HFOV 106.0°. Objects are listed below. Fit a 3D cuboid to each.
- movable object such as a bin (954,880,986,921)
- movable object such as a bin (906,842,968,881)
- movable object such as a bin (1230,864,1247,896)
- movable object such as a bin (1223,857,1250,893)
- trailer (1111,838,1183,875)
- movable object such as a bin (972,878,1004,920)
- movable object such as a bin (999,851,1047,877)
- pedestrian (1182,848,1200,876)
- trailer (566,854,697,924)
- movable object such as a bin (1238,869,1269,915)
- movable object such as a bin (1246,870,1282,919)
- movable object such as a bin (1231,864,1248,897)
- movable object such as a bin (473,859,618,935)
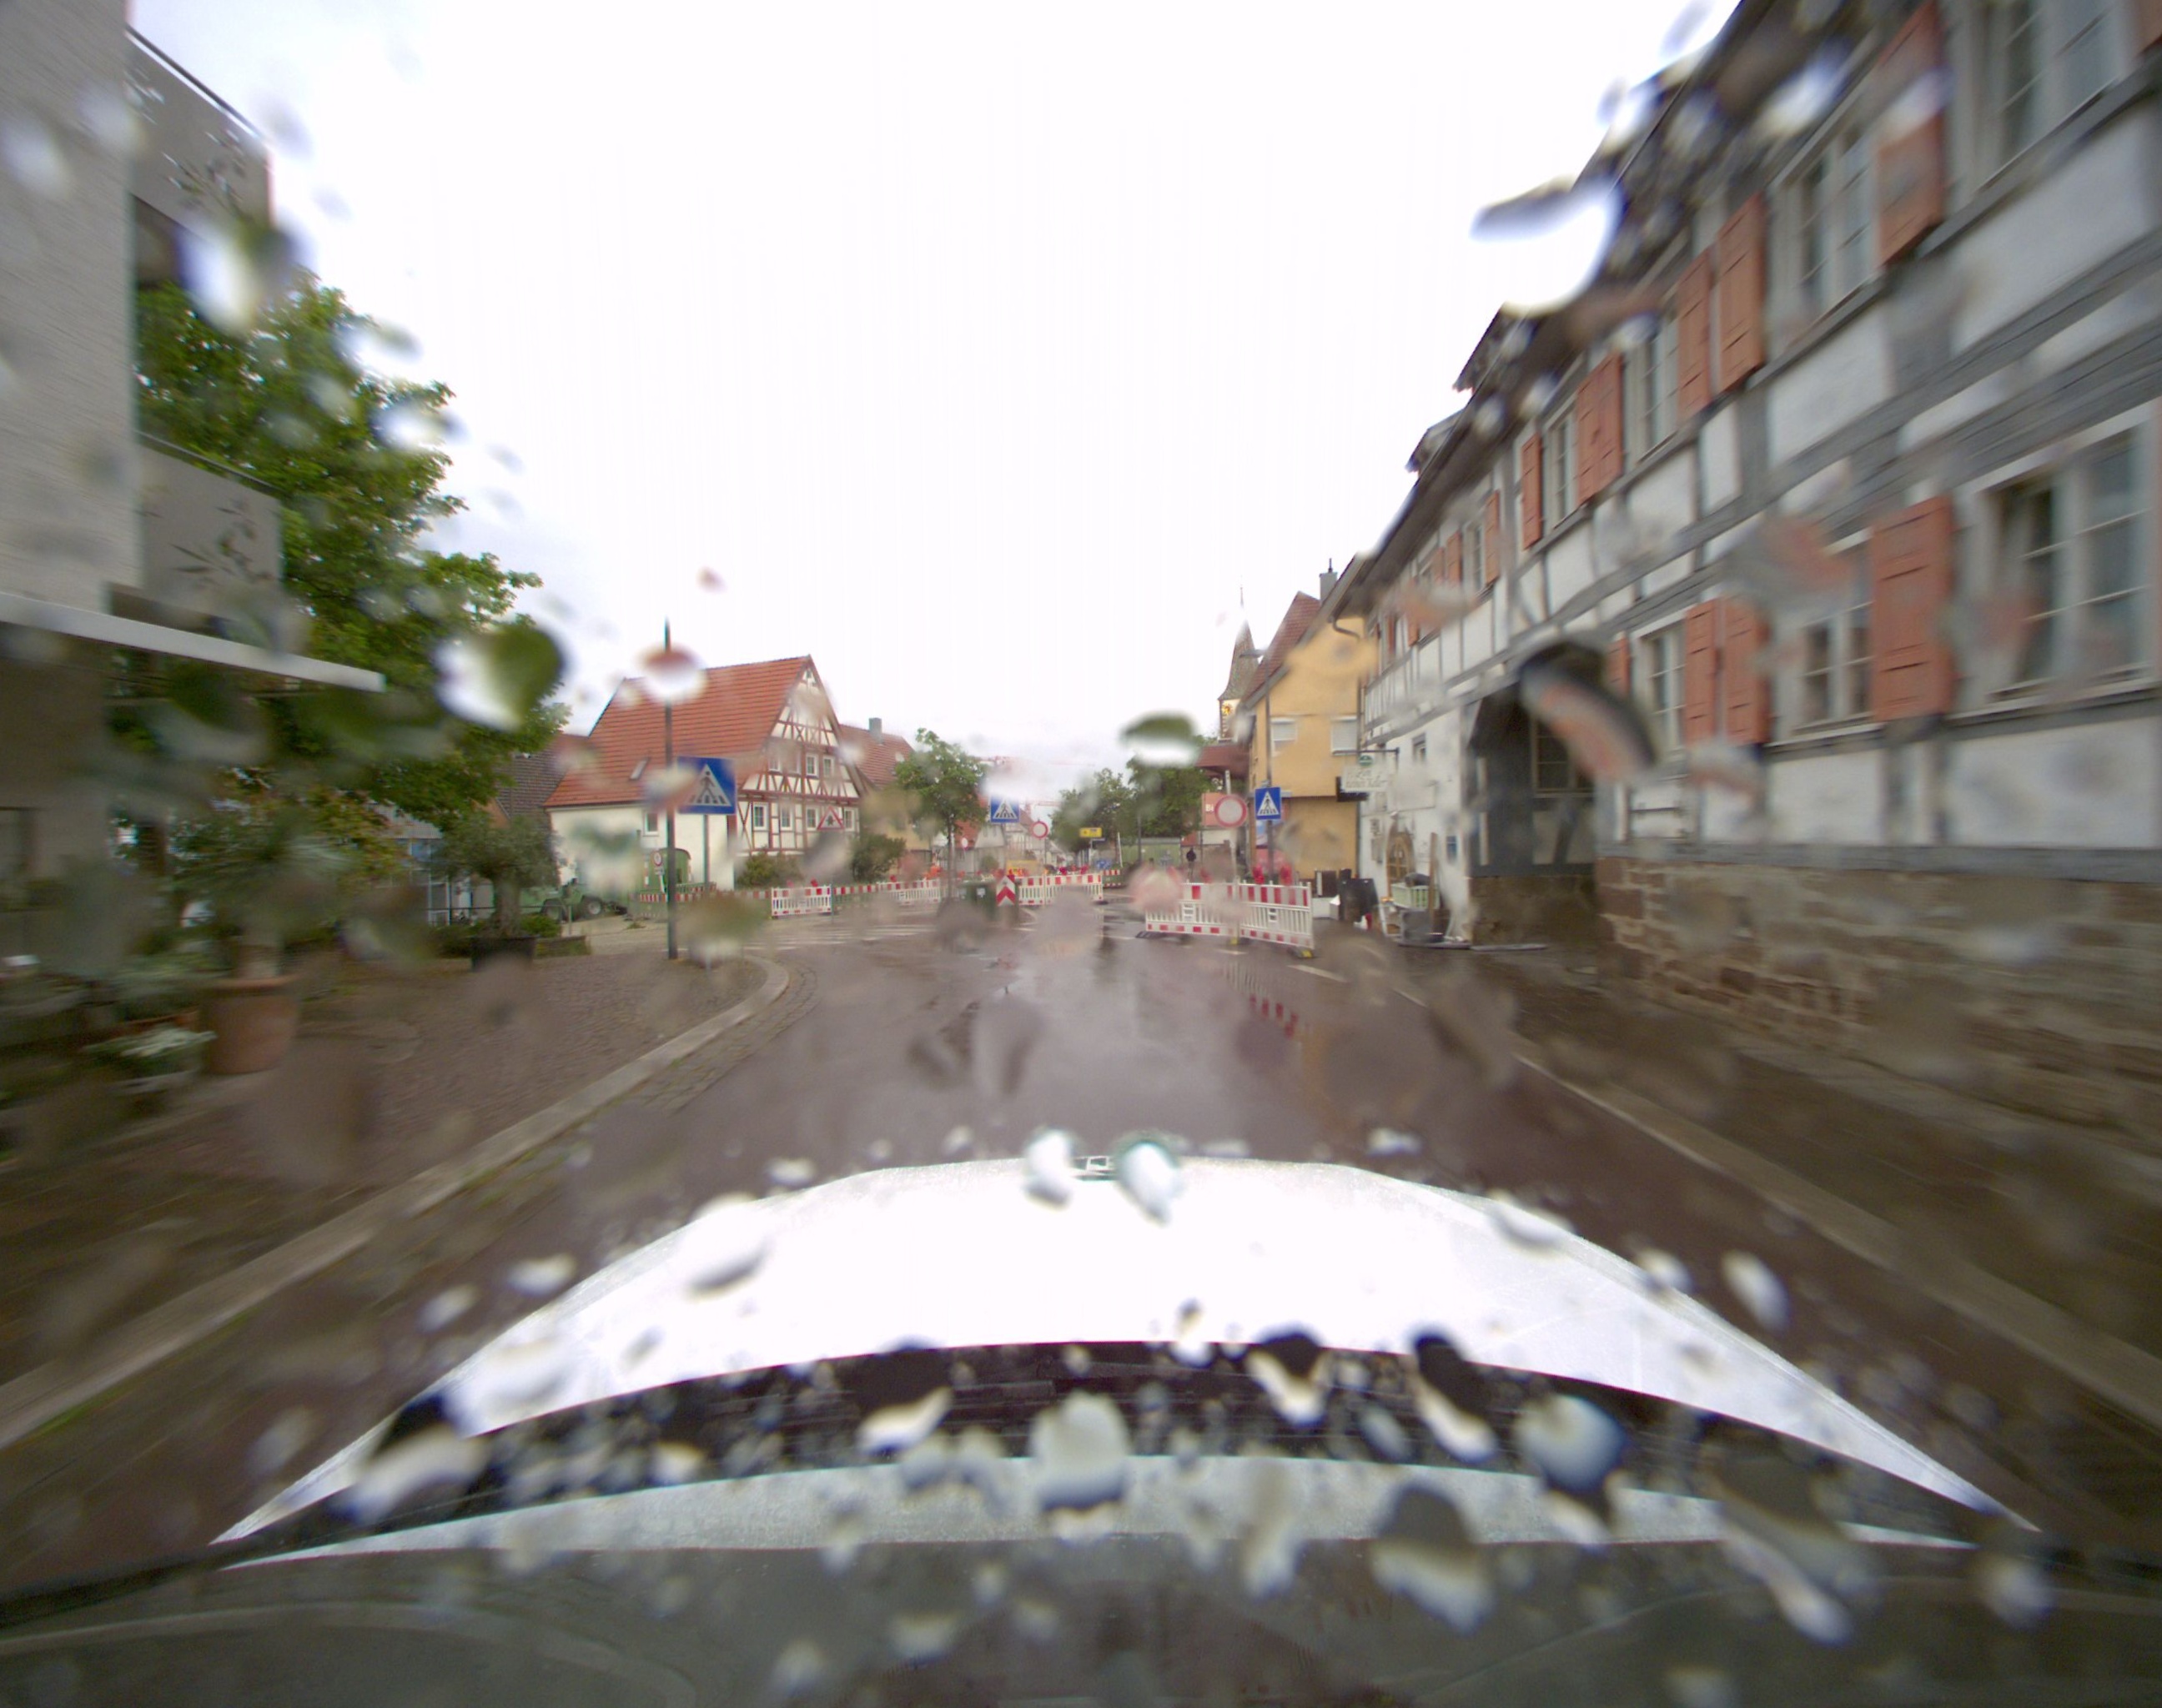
[{"bbox_3d":[-2.876,1.201,21.037,0.535,1.037,0.576,-4,-3,37],"label":"movable object such as a bin"},{"bbox_3d":[-8.048,0.438,45.941,1.892,2.014,4.014,-3,-2,13],"label":"movable object such as a bin"},{"bbox_3d":[5.878,0.949,30.389,0.513,1.129,0.581,-5,0,7],"label":"movable object such as a bin"},{"bbox_3d":[6.959,0.914,36.476,1.058,1.512,1.246,-4,-1,12],"label":"movable object such as a bin"},{"bbox_3d":[5.446,0.187,67.335,5.764,2.948,1.999,-1,-1,-1],"label":"trailer"},{"bbox_3d":[-2.360,1.150,20.662,0.538,1.033,0.538,-4,-3,37],"label":"movable object such as a bin"},{"bbox_3d":[-4.688,0.829,66.356,3.385,2.014,3.484,-1,-1,5],"label":"movable object such as a bin"},{"bbox_3d":[7.015,0.517,52.068,0.987,1.759,0.851,-1,-1,-2],"label":"pedestrian"},{"bbox_3d":[-19.191,1.466,34.861,4.578,2.837,2.505,-1,-1,20],"label":"trailer"},{"bbox_3d":[4.171,0.907,19.665,0.611,1.066,0.542,-3,-2,21],"label":"movable object such as a bin"},{"bbox_3d":[4.239,0.931,18.882,0.677,1.066,0.539,-3,0,-3],"label":"movable object such as a bin"},{"bbox_3d":[5.788,0.958,29.785,0.514,1.132,0.581,-4,0,7],"label":"movable object such as a bin"},{"bbox_3d":[-20.600,1.598,31.564,1.891,2.554,4.310,-4,0,17],"label":"movable object such as a bin"}]
